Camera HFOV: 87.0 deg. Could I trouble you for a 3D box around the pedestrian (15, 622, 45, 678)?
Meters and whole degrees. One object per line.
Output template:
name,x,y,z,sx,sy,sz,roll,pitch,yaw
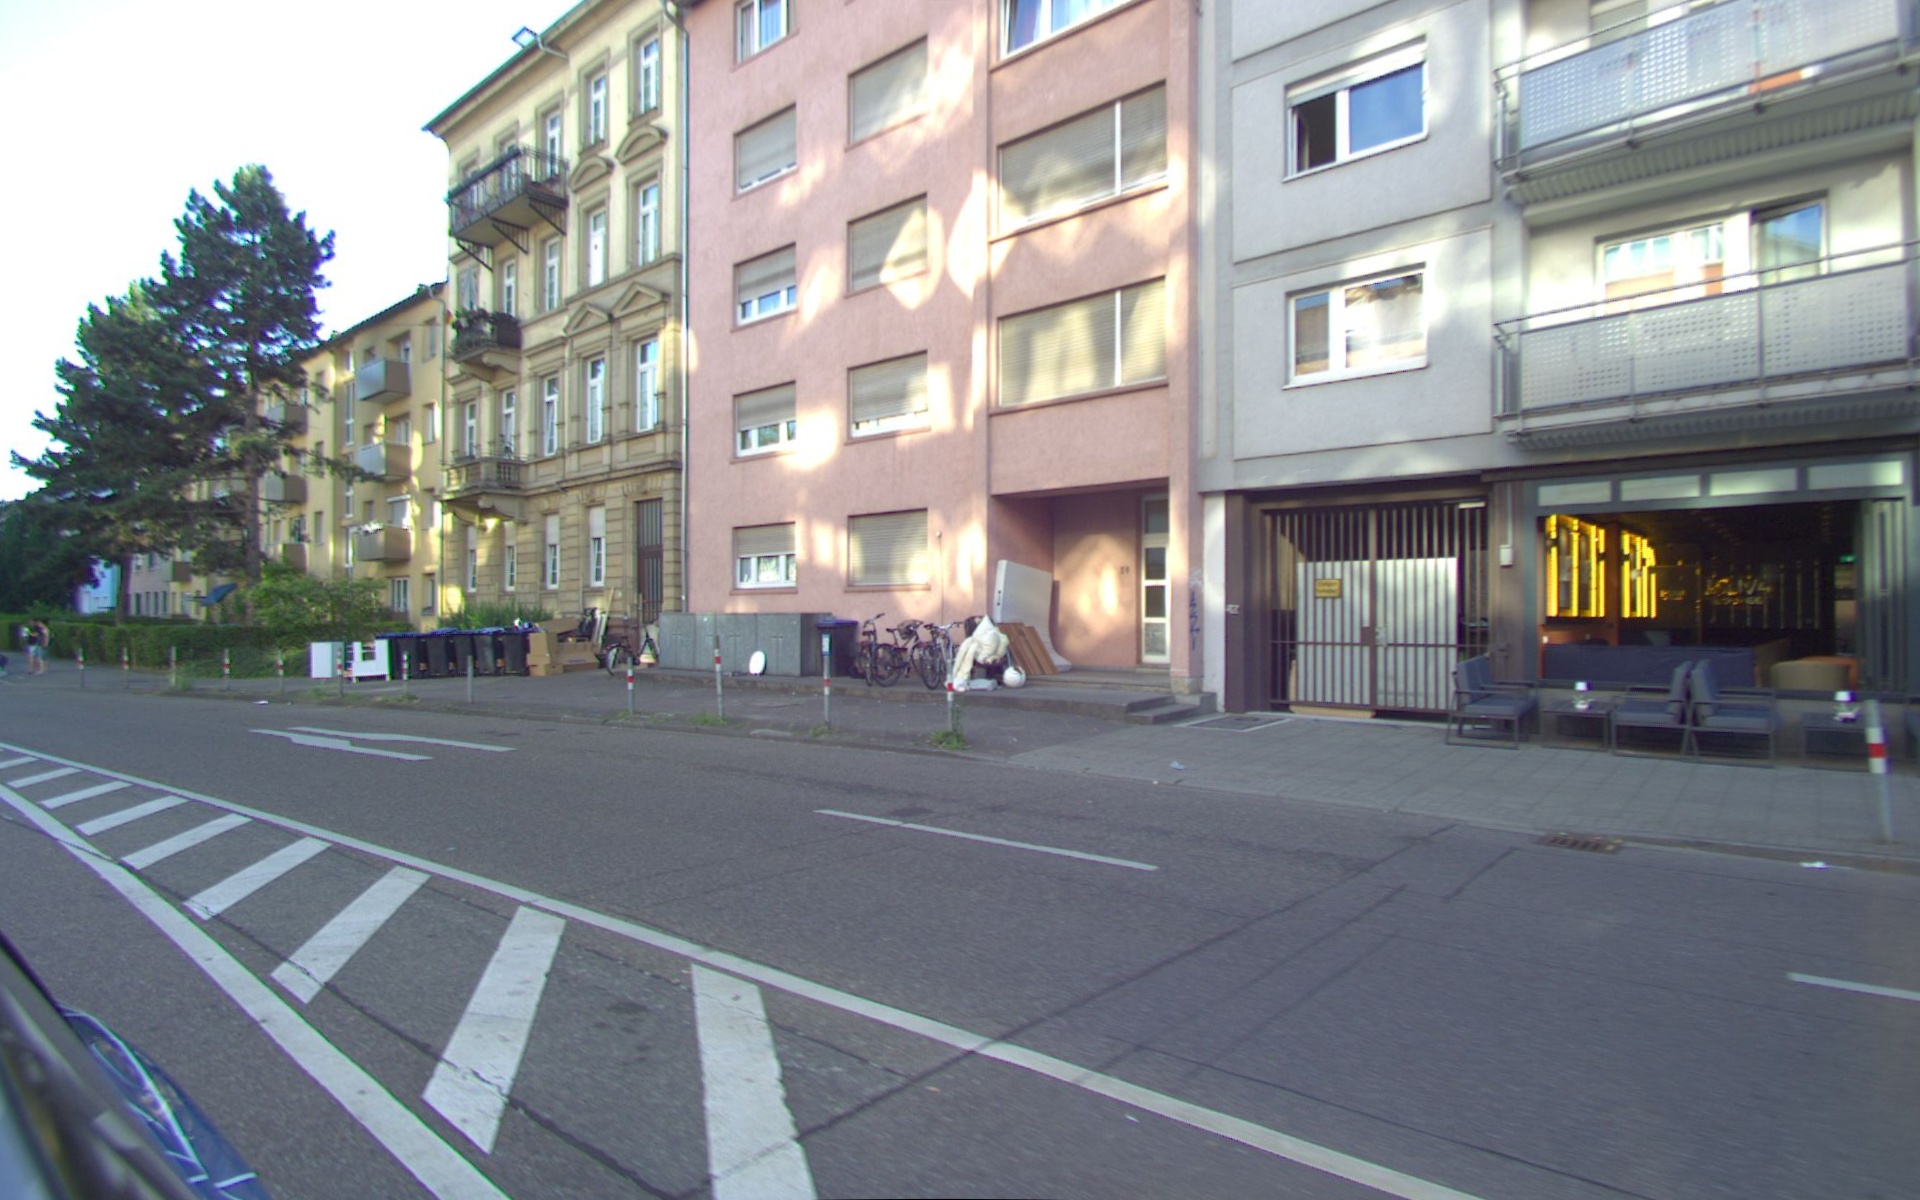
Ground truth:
pedestrian,-27.649,1.477,30.091,0.723,1.664,0.476,-1,-2,35

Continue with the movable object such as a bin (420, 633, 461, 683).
movable object such as a bin,-12.139,1.338,23.647,0.577,1.119,0.640,-1,1,11

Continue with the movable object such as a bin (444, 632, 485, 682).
movable object such as a bin,-11.508,1.318,23.519,0.577,1.119,0.640,-1,1,11

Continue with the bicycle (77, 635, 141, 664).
bicycle,-31.476,1.819,37.463,0.590,0.989,1.740,-2,-1,42

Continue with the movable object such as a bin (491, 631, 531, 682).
movable object such as a bin,-10.297,1.289,23.228,0.577,1.119,0.640,-1,1,11

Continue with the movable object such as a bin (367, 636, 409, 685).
movable object such as a bin,-13.494,1.422,23.891,0.577,1.091,0.640,-1,1,11

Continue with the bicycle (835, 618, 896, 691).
bicycle,-1.619,0.917,17.576,0.492,1.169,1.667,-1,0,15

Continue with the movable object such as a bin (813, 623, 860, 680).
movable object such as a bin,-2.349,0.967,19.253,0.589,1.039,0.668,-2,-2,41

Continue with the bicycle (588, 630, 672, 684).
bicycle,-7.339,1.251,22.584,0.661,0.974,1.633,-2,4,39

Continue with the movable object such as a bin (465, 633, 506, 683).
movable object such as a bin,-10.897,1.326,23.258,0.577,1.119,0.640,-1,1,11

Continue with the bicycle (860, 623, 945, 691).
bicycle,-0.950,0.944,17.118,0.548,1.048,1.656,-1,0,34

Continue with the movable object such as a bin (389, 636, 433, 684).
movable object such as a bin,-12.857,1.391,23.710,0.620,1.076,0.640,-1,1,11

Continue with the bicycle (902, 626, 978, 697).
bicycle,-0.302,0.974,16.600,0.546,1.048,1.660,-1,0,26

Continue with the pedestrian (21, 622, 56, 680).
pedestrian,-27.027,1.476,29.684,0.695,1.664,0.599,-1,-2,35

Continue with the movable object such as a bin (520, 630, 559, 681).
movable object such as a bin,-9.639,1.267,23.207,0.577,1.119,0.640,-1,1,11
